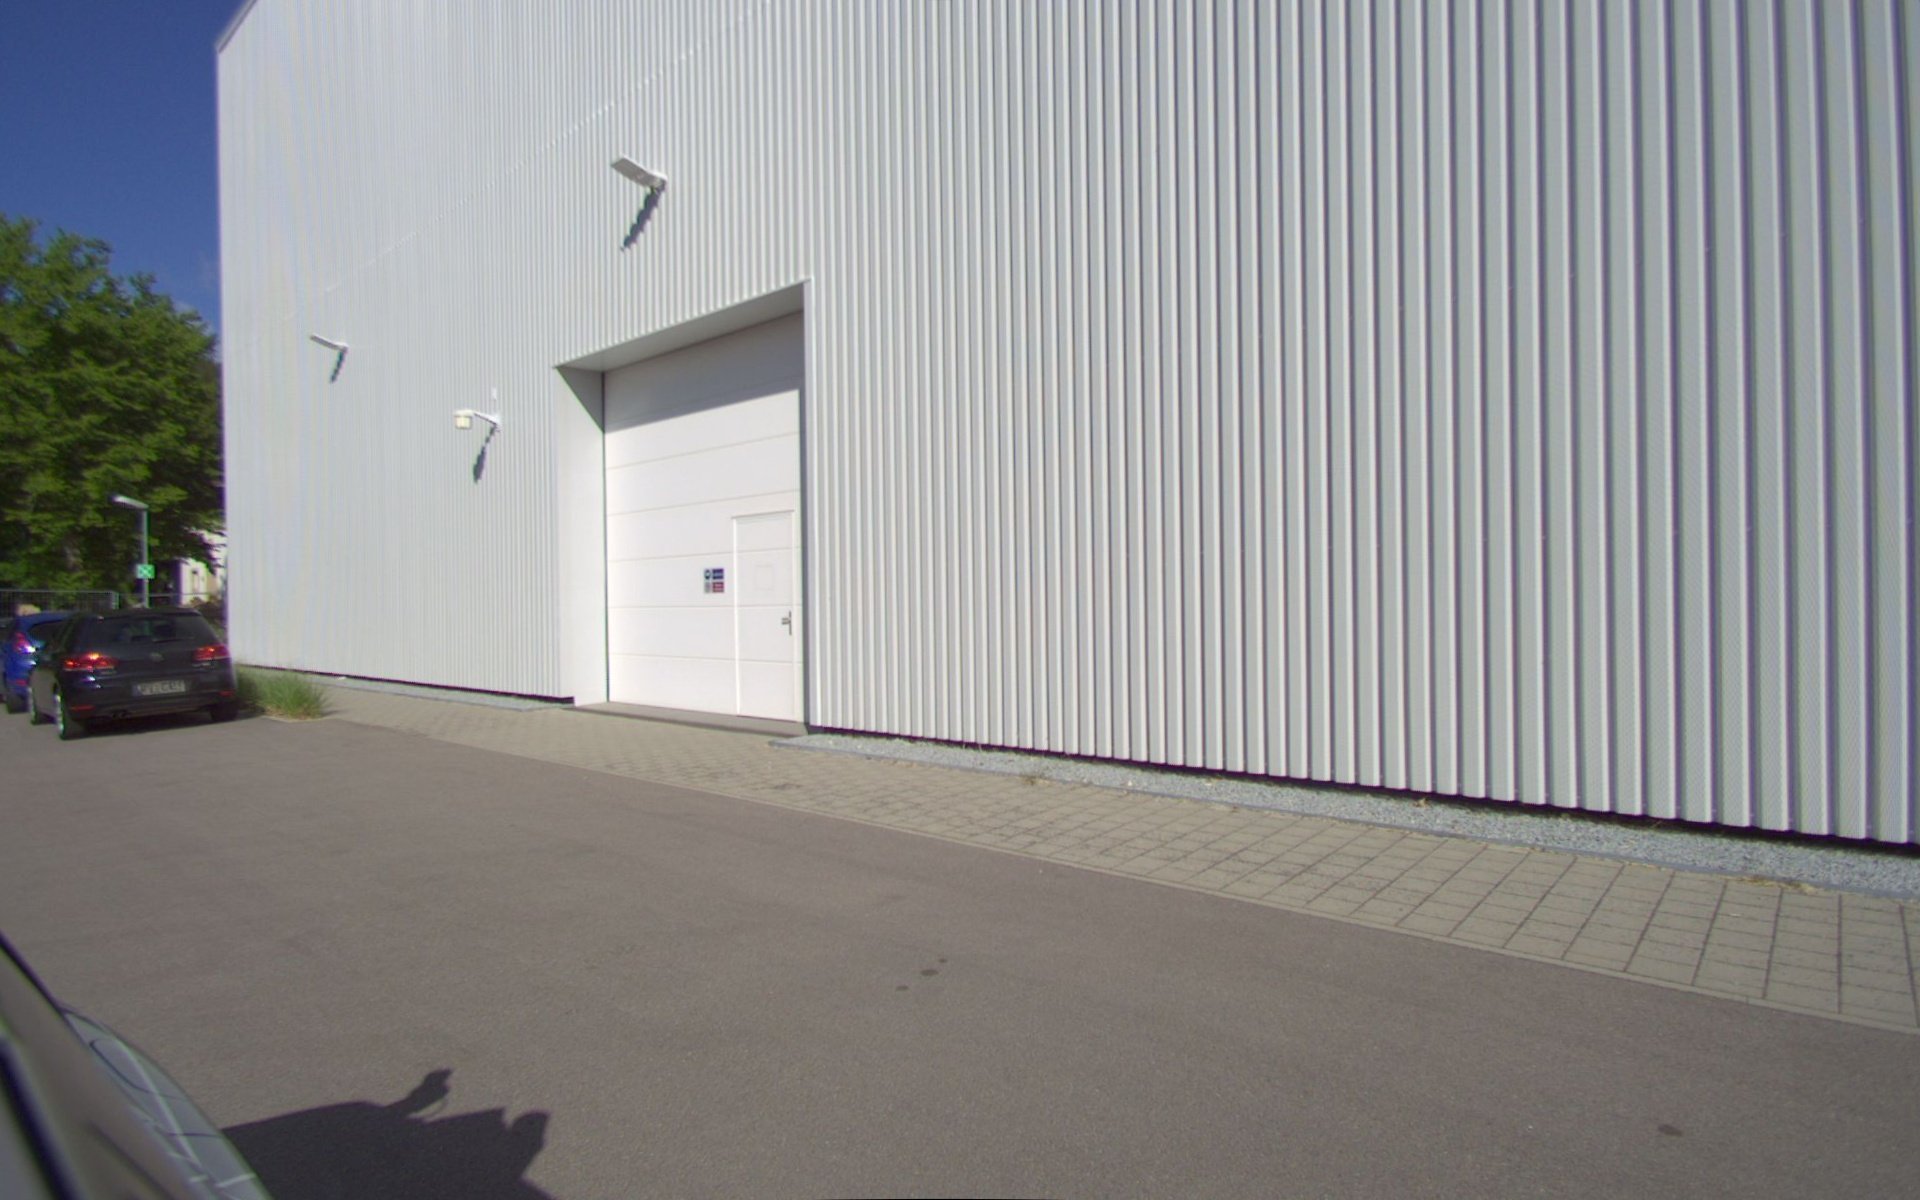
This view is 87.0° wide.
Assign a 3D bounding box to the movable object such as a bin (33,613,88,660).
[{"bbox_3d":[-29.467,1.166,33.161,1.228,1.450,1.080,0,2,36],"label":"movable object such as a bin"}]

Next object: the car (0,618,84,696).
[{"bbox_3d":[-18.734,1.076,19.852,4.051,1.371,1.756,-1,0,41],"label":"car"}]

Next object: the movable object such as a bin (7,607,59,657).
[{"bbox_3d":[-31.197,1.049,34.058,1.228,1.609,1.080,1,1,36],"label":"movable object such as a bin"}]

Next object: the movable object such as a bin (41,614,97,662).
[{"bbox_3d":[-28.441,1.183,32.309,1.228,1.443,1.080,0,2,36],"label":"movable object such as a bin"}]

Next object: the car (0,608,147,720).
[{"bbox_3d":[-14.626,0.942,16.281,4.092,1.511,1.614,-1,2,40],"label":"car"}]

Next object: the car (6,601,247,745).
[{"bbox_3d":[-10.896,0.825,13.116,4.292,1.511,1.736,-1,1,42],"label":"car"}]
